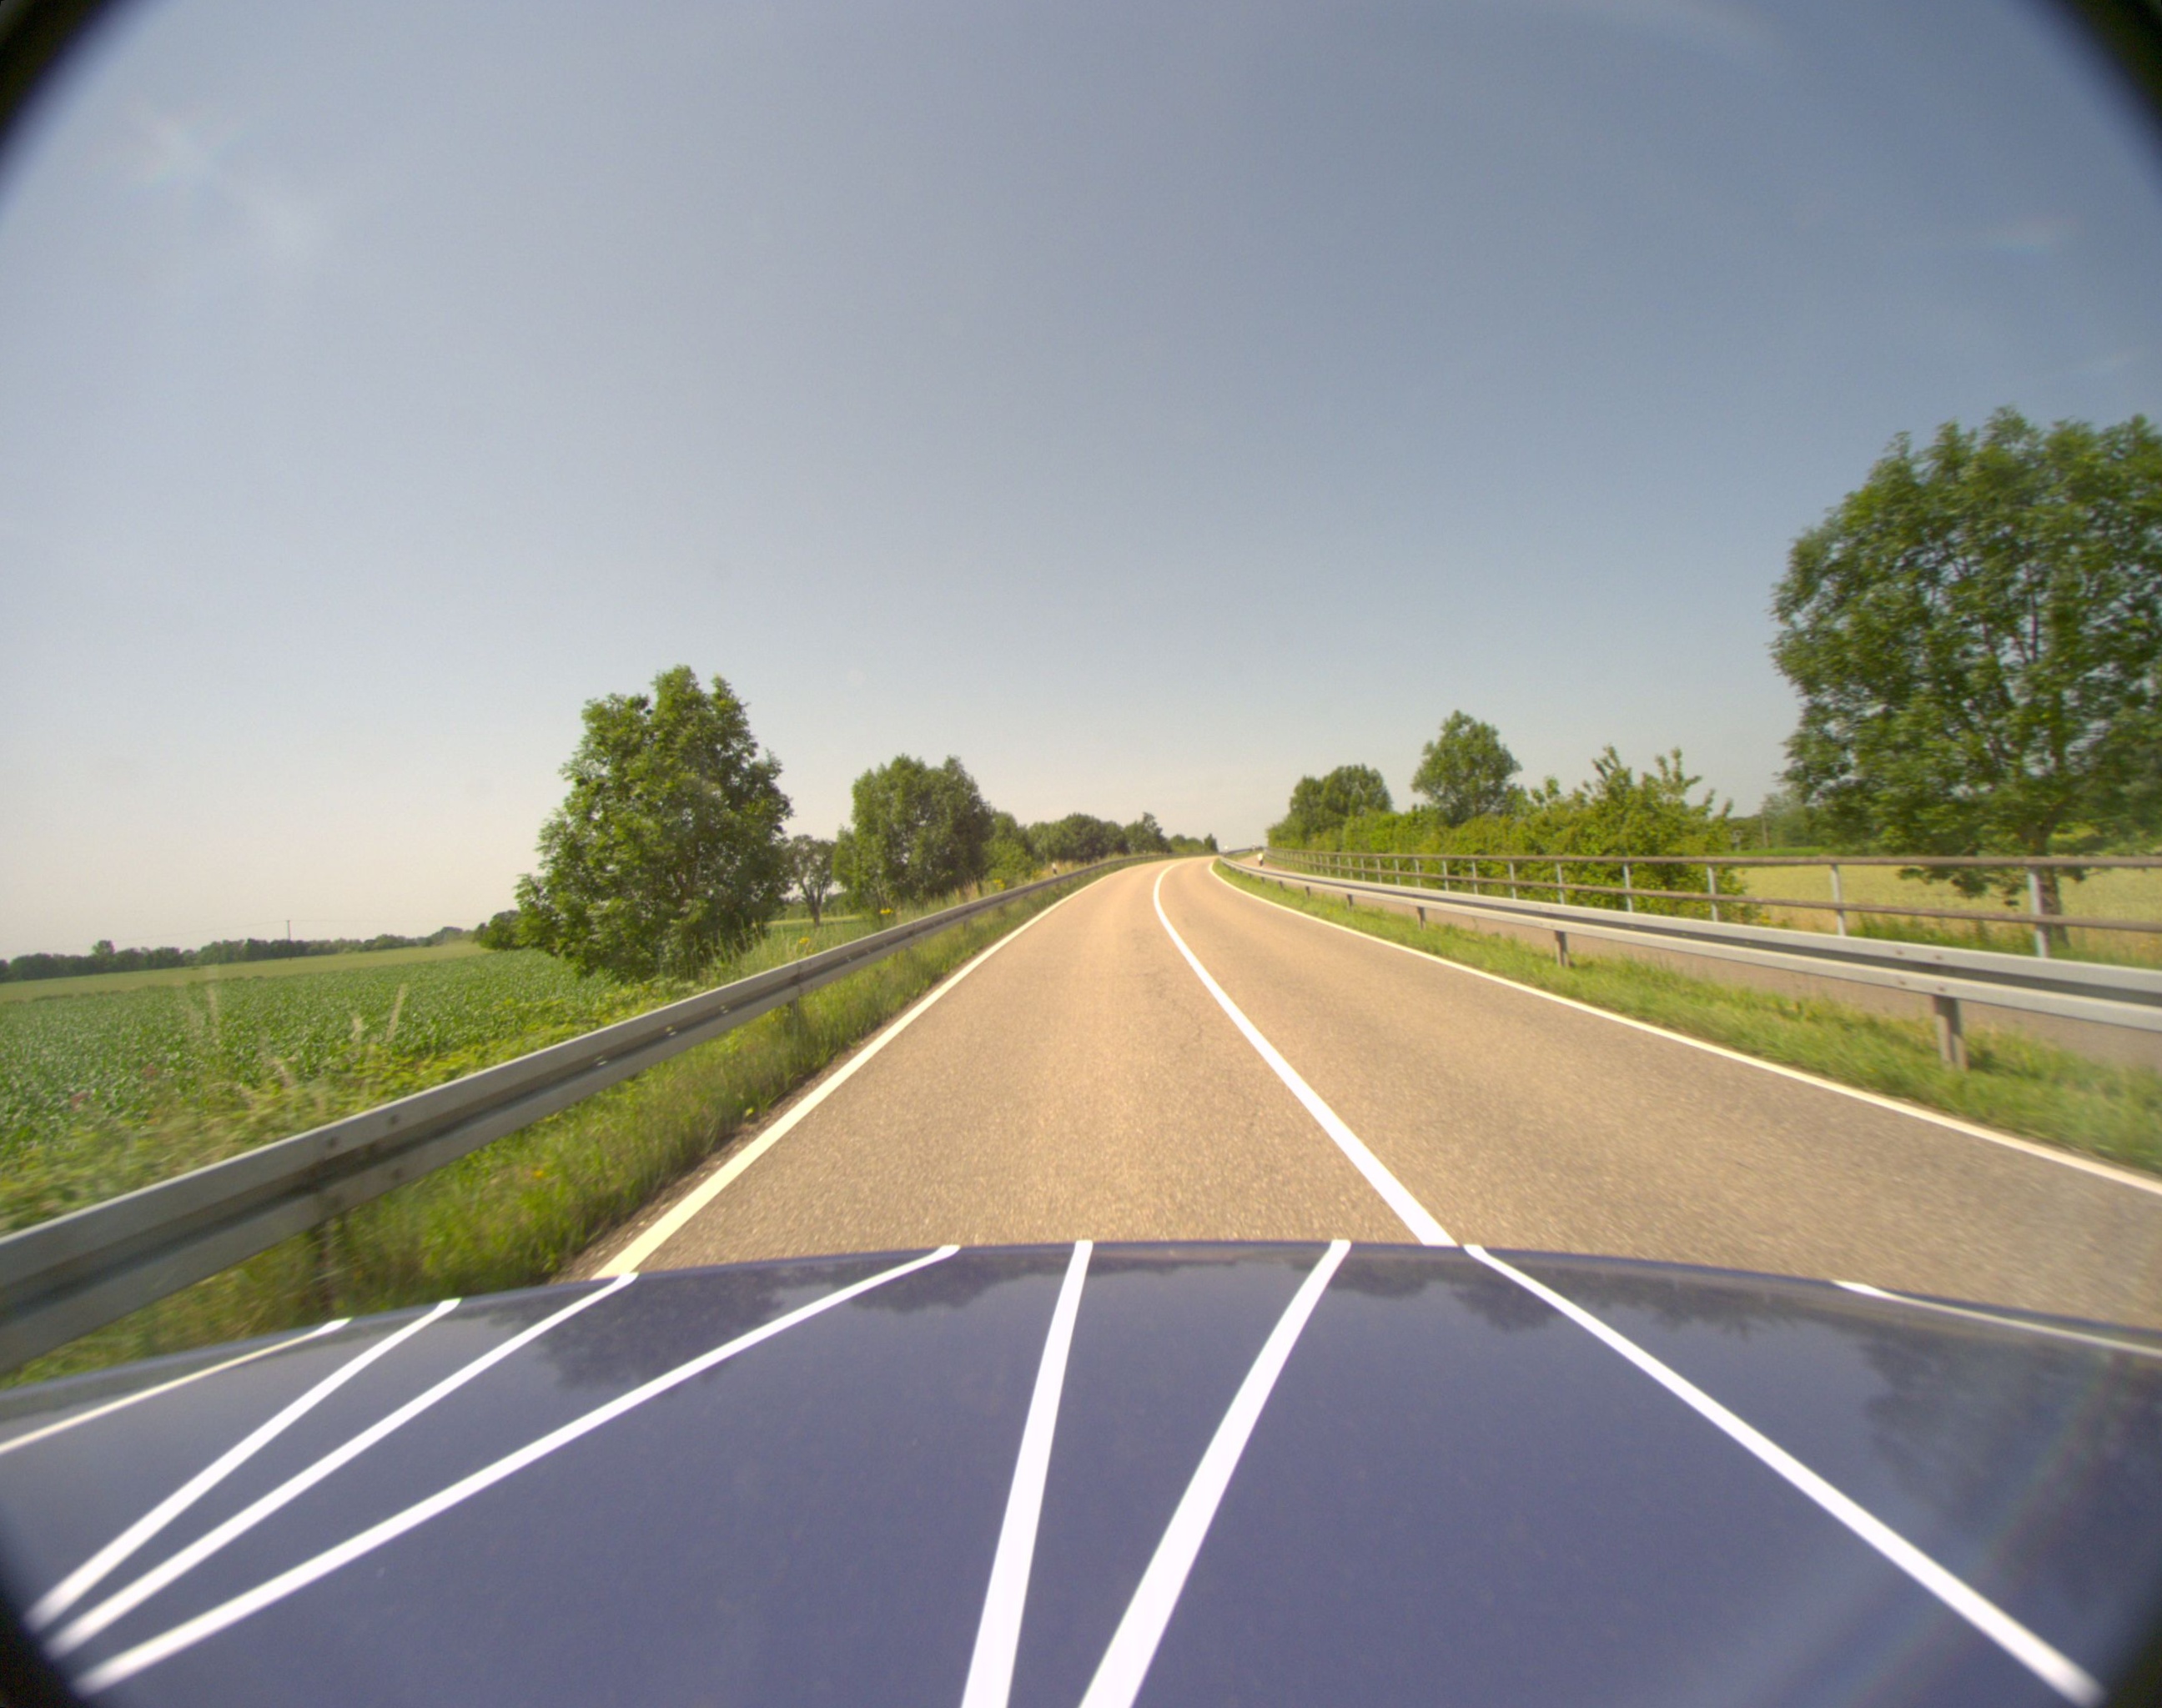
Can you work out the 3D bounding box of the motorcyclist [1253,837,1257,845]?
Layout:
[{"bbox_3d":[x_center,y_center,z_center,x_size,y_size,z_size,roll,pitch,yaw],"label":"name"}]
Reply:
[{"bbox_3d":[31.819,-2.381,138.816,0.655,1.553,0.776,-2,1,19],"label":"motorcyclist"}]

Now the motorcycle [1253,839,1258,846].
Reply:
[{"bbox_3d":[31.872,-2.030,138.907,0.644,1.216,1.640,-2,1,19],"label":"motorcycle"}]
